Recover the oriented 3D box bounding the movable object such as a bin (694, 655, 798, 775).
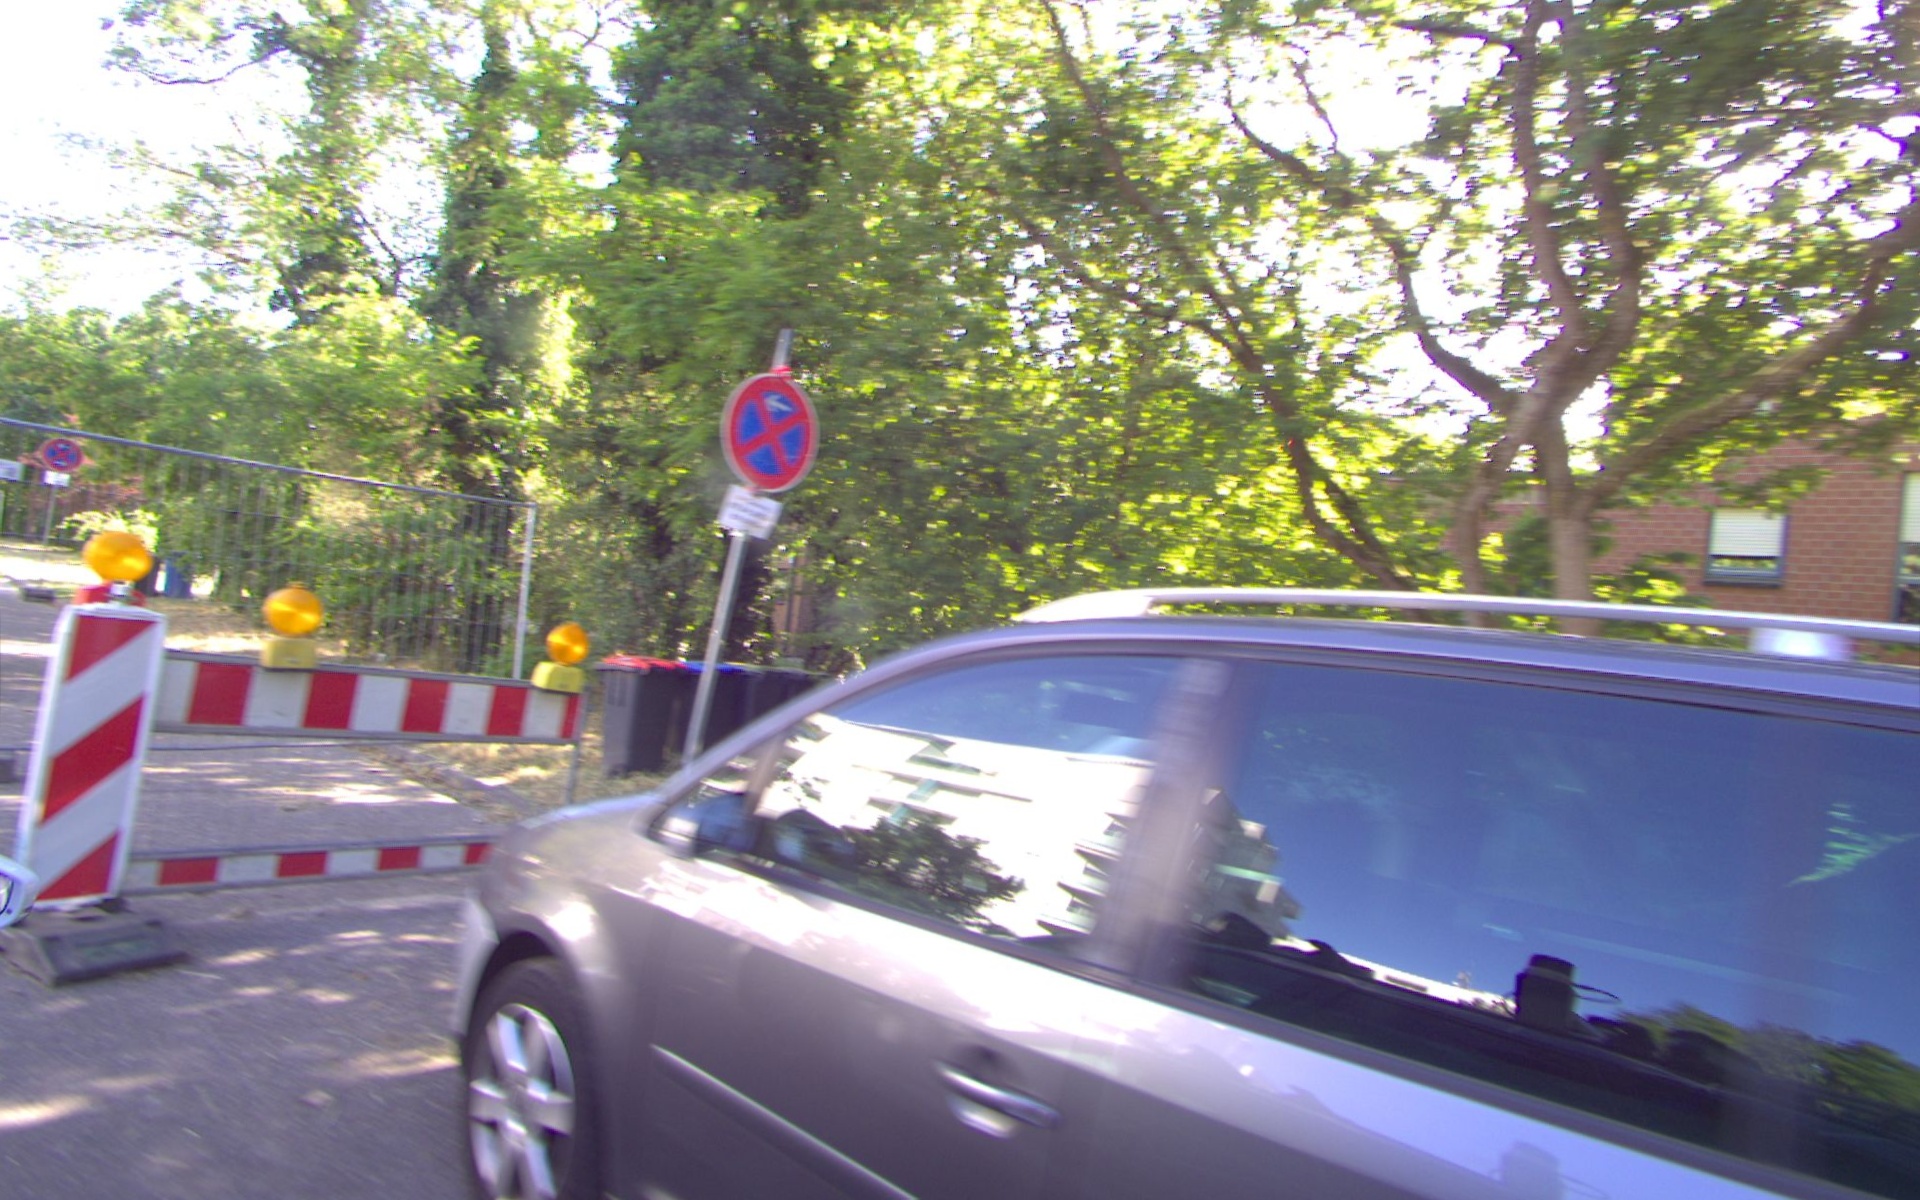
[{"bbox_3d":[-1.722,0.921,8.104,0.551,0.871,0.484,6,-2,38],"label":"movable object such as a bin"}]

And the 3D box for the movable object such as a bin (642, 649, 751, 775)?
[{"bbox_3d":[-2.019,0.854,7.712,0.551,0.871,0.484,6,-2,38],"label":"movable object such as a bin"}]

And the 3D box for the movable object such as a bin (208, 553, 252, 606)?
[{"bbox_3d":[-15.022,-0.412,20.700,0.600,1.012,0.561,6,0,42],"label":"movable object such as a bin"}]

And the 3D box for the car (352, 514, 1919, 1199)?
[{"bbox_3d":[0.462,0.830,2.176,4.078,1.640,1.679,6,-3,40],"label":"car"}]

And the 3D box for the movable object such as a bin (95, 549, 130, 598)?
[{"bbox_3d":[-16.328,-0.507,19.380,0.477,0.881,0.412,6,0,42],"label":"movable object such as a bin"}]

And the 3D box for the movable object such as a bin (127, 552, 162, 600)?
[{"bbox_3d":[-15.994,-0.465,19.736,0.477,0.881,0.412,6,0,42],"label":"movable object such as a bin"}]

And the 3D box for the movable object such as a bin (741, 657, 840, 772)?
[{"bbox_3d":[-1.429,0.960,8.498,0.551,0.871,0.484,6,-2,38],"label":"movable object such as a bin"}]

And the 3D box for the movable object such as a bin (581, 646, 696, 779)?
[{"bbox_3d":[-2.346,0.816,7.348,0.551,0.871,0.484,6,-2,38],"label":"movable object such as a bin"}]

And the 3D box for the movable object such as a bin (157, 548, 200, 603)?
[{"bbox_3d":[-15.618,-0.485,20.098,0.600,1.012,0.518,6,0,42],"label":"movable object such as a bin"}]
